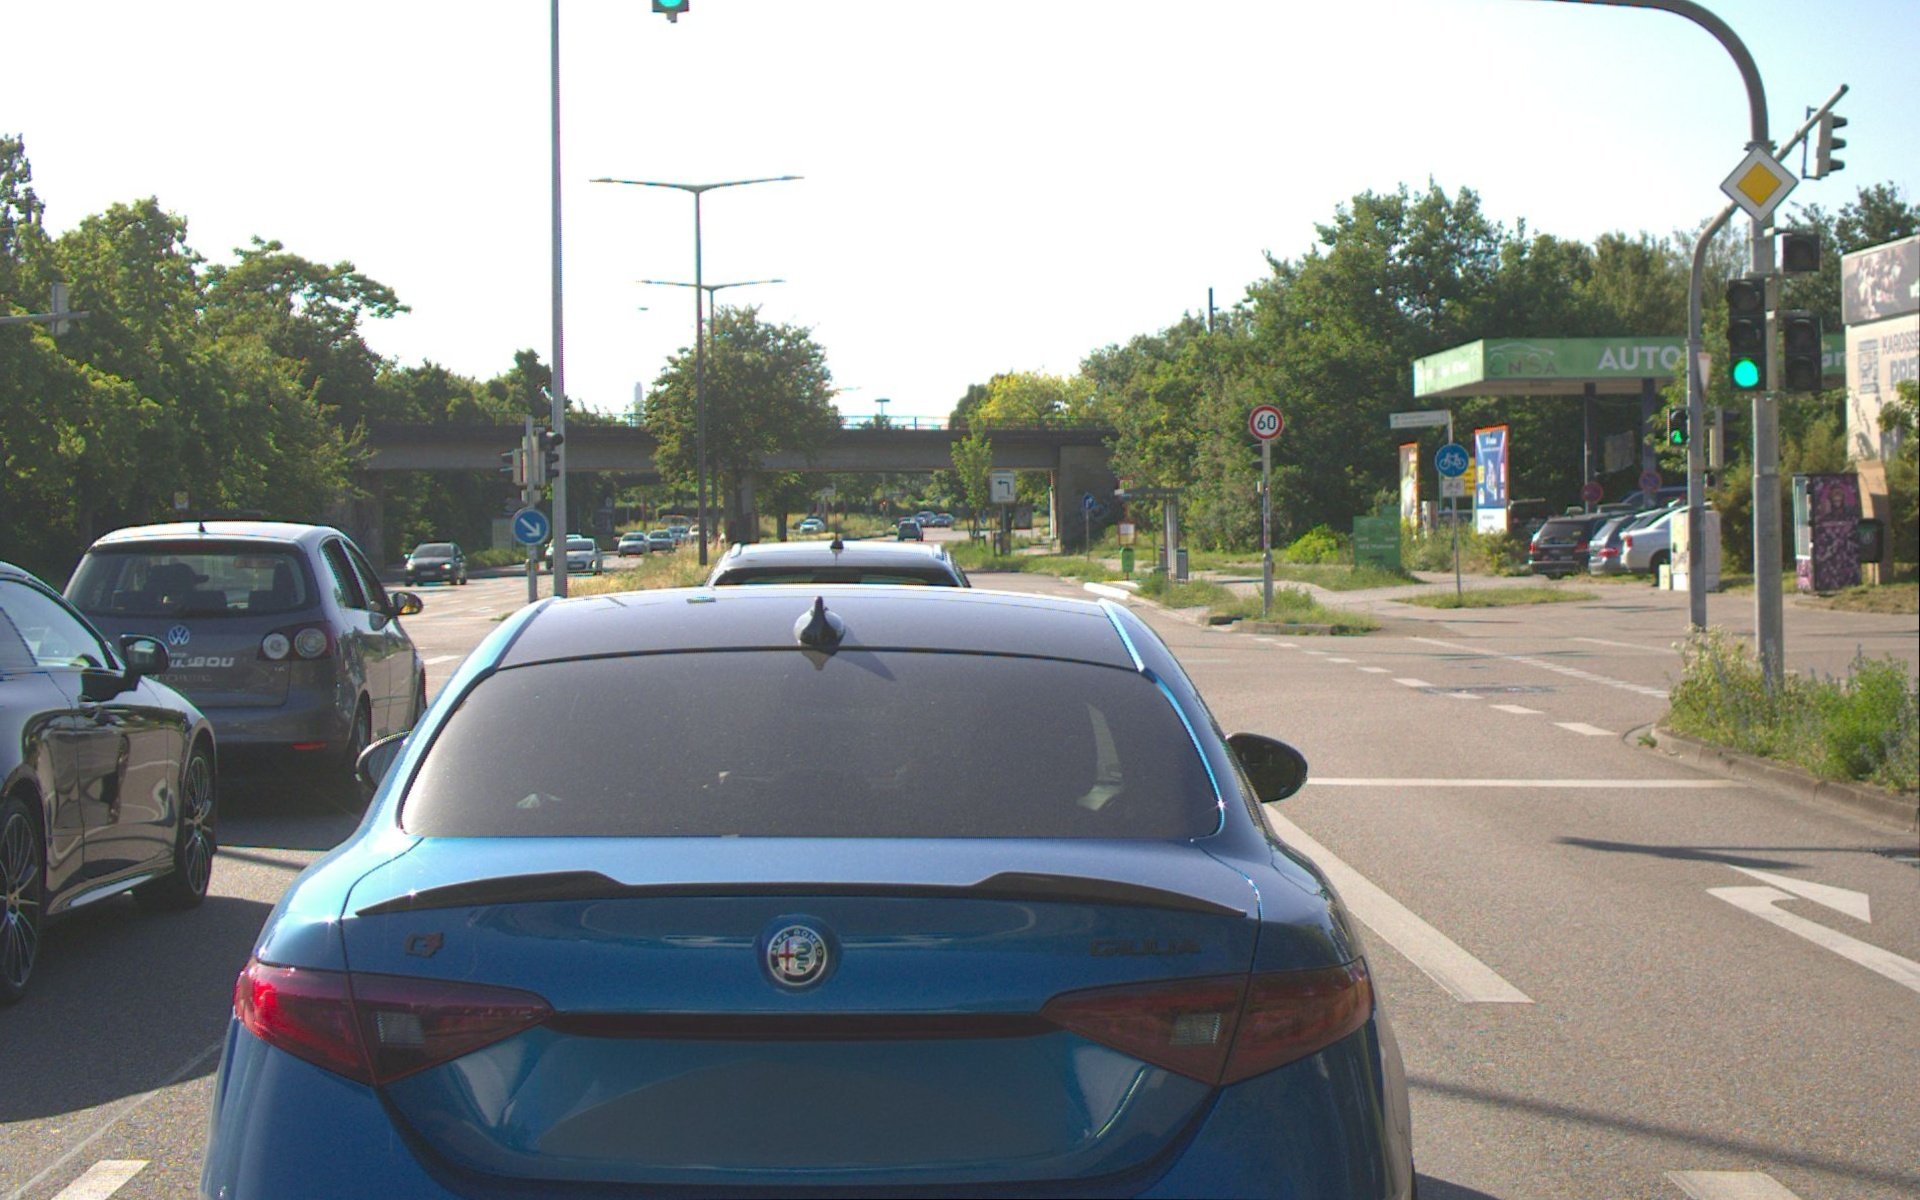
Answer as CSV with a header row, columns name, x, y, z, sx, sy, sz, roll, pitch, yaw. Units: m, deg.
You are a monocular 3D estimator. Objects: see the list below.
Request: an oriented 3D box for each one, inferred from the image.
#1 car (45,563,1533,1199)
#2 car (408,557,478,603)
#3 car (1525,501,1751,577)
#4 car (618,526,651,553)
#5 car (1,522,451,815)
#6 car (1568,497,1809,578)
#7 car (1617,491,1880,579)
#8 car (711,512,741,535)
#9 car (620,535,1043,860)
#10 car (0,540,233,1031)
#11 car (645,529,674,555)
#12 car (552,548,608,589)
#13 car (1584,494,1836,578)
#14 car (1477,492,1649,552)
name,x,y,z,sx,sy,sz,roll,pitch,yaw
car,-0.282,0.649,6.611,1.895,1.413,4.403,1,1,-2
car,-17.957,-0.709,119.559,1.759,1.485,4.478,-2,1,0
car,14.596,-1.314,74.145,4.489,1.449,1.858,-2,1,1
car,-19.063,-3.541,201.544,1.615,1.554,3.358,1,1,-1
car,-4.090,0.330,19.840,1.759,1.485,4.403,1,1,-2
car,14.815,-1.266,70.094,4.489,1.449,1.858,-2,1,1
car,14.776,-1.212,64.561,4.489,1.449,1.858,-2,1,1
car,-16.121,-5.255,236.783,1.759,1.485,4.478,-2,1,0
car,-0.630,0.409,17.410,1.850,1.413,4.403,1,1,-2
car,-3.836,0.534,11.901,1.796,1.485,4.476,1,1,-2
car,-19.216,-3.693,219.808,1.609,1.641,3.463,1,1,-1
car,-14.923,-1.250,135.241,1.759,1.485,3.837,-2,1,0
car,14.659,-1.250,67.340,4.489,1.449,1.858,-2,1,1
car,17.045,-2.197,97.308,4.551,1.485,1.765,-2,1,1
